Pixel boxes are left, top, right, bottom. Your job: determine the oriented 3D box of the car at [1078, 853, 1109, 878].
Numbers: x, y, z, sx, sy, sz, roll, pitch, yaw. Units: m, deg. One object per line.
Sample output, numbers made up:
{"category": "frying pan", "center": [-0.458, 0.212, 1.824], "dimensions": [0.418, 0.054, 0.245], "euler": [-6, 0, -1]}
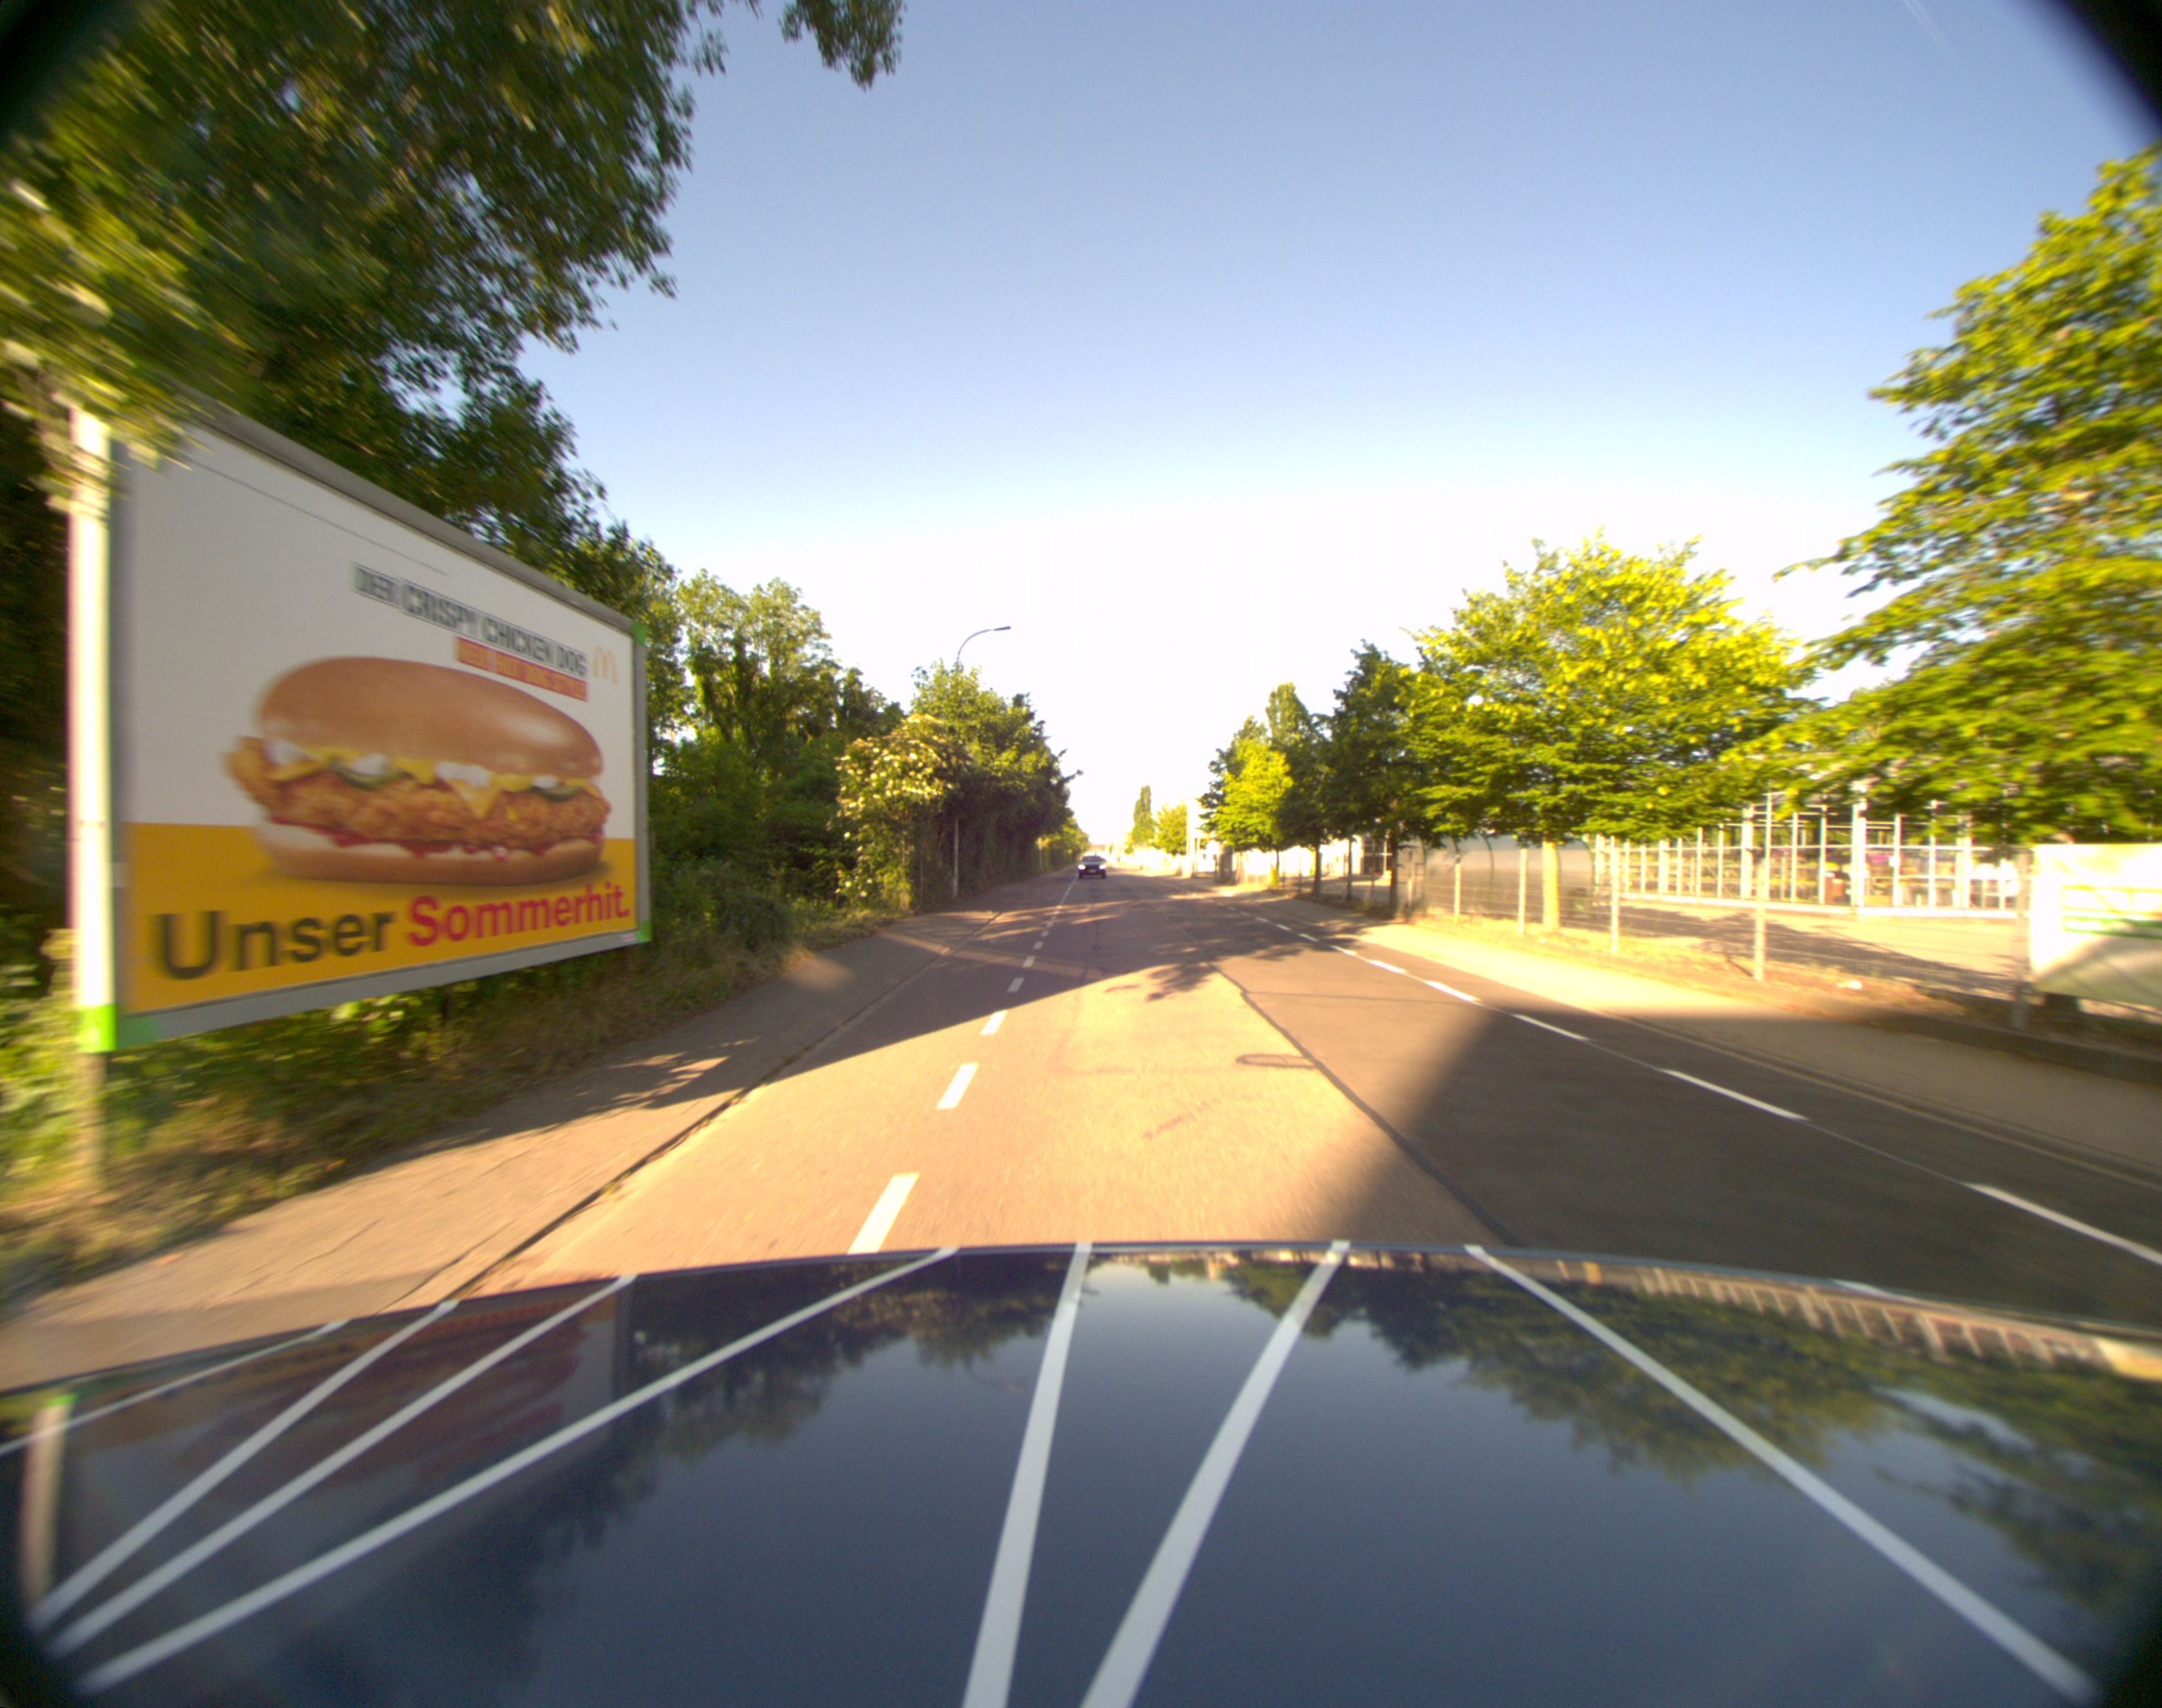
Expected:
{"category": "car", "center": [0.839, 0.799, 53.699], "dimensions": [1.999, 1.608, 3.999], "euler": [-3, 0, -2]}
